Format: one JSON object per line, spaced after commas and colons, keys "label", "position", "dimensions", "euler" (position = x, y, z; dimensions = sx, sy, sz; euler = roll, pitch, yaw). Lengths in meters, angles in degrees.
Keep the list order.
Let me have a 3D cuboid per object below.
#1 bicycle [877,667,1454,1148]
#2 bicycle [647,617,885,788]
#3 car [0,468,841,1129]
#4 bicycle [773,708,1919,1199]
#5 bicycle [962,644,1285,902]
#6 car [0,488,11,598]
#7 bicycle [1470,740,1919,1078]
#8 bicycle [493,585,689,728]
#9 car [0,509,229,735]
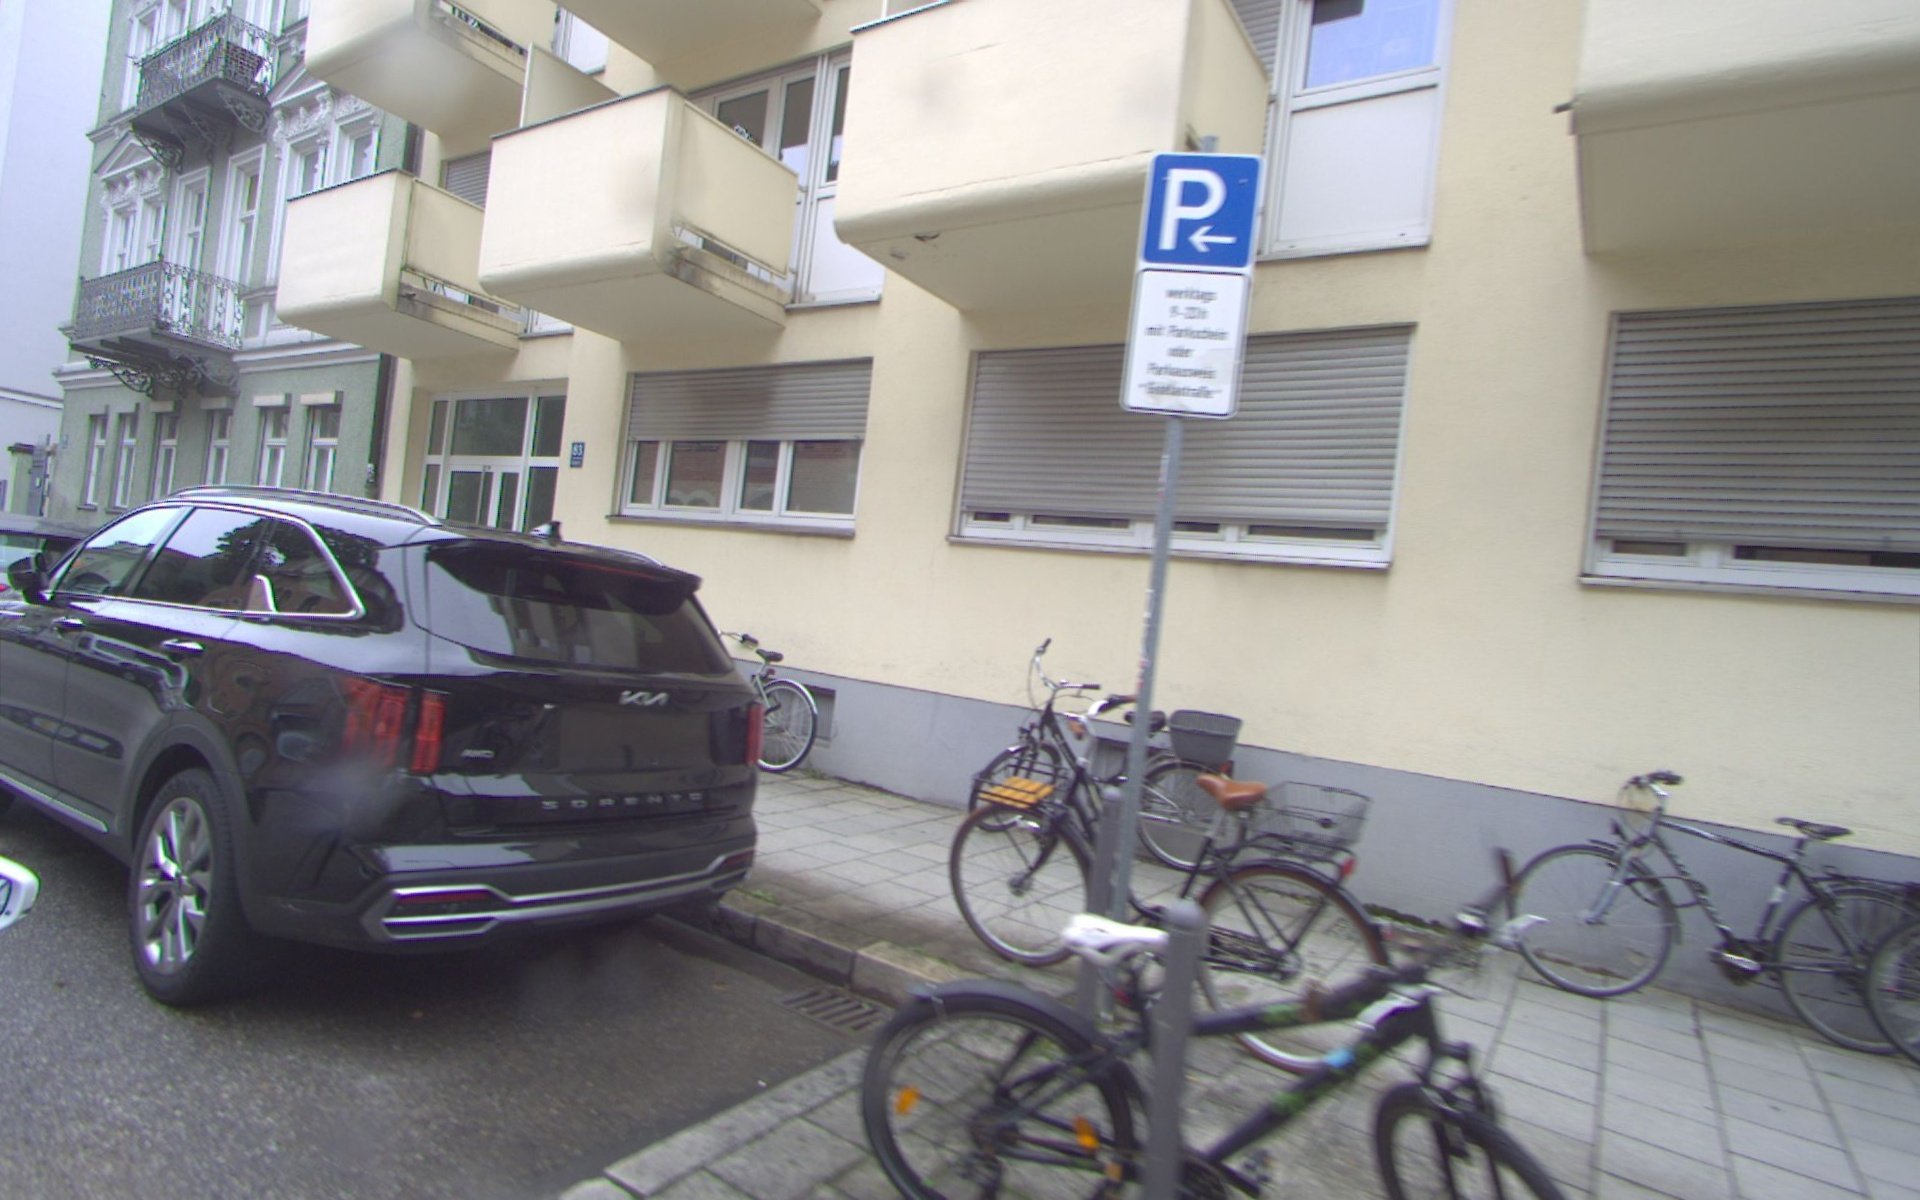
{"label": "bicycle", "position": [0.656, 0.950, 3.720], "dimensions": [1.934, 1.168, 0.579], "euler": [6, 0, 38]}
{"label": "bicycle", "position": [-1.562, 0.772, 7.976], "dimensions": [1.806, 1.067, 0.580], "euler": [6, 0, 29]}
{"label": "car", "position": [-2.927, 0.412, 4.569], "dimensions": [4.477, 1.658, 1.852], "euler": [6, -1, 33]}
{"label": "bicycle", "position": [0.644, 0.945, 2.065], "dimensions": [1.927, 1.168, 0.581], "euler": [6, 0, 21]}
{"label": "bicycle", "position": [0.991, 0.987, 6.202], "dimensions": [1.732, 1.221, 0.689], "euler": [6, 0, 28]}
{"label": "car", "position": [-12.342, -0.632, 10.904], "dimensions": [4.676, 1.570, 1.861], "euler": [6, -1, 33]}
{"label": "bicycle", "position": [3.435, 1.329, 4.671], "dimensions": [1.736, 1.067, 0.579], "euler": [6, 0, 38]}
{"label": "bicycle", "position": [-3.350, 0.488, 9.080], "dimensions": [1.732, 1.067, 0.580], "euler": [6, 0, 29]}
{"label": "car", "position": [-7.882, 0.004, 8.065], "dimensions": [4.345, 1.476, 1.730], "euler": [6, -3, 33]}
